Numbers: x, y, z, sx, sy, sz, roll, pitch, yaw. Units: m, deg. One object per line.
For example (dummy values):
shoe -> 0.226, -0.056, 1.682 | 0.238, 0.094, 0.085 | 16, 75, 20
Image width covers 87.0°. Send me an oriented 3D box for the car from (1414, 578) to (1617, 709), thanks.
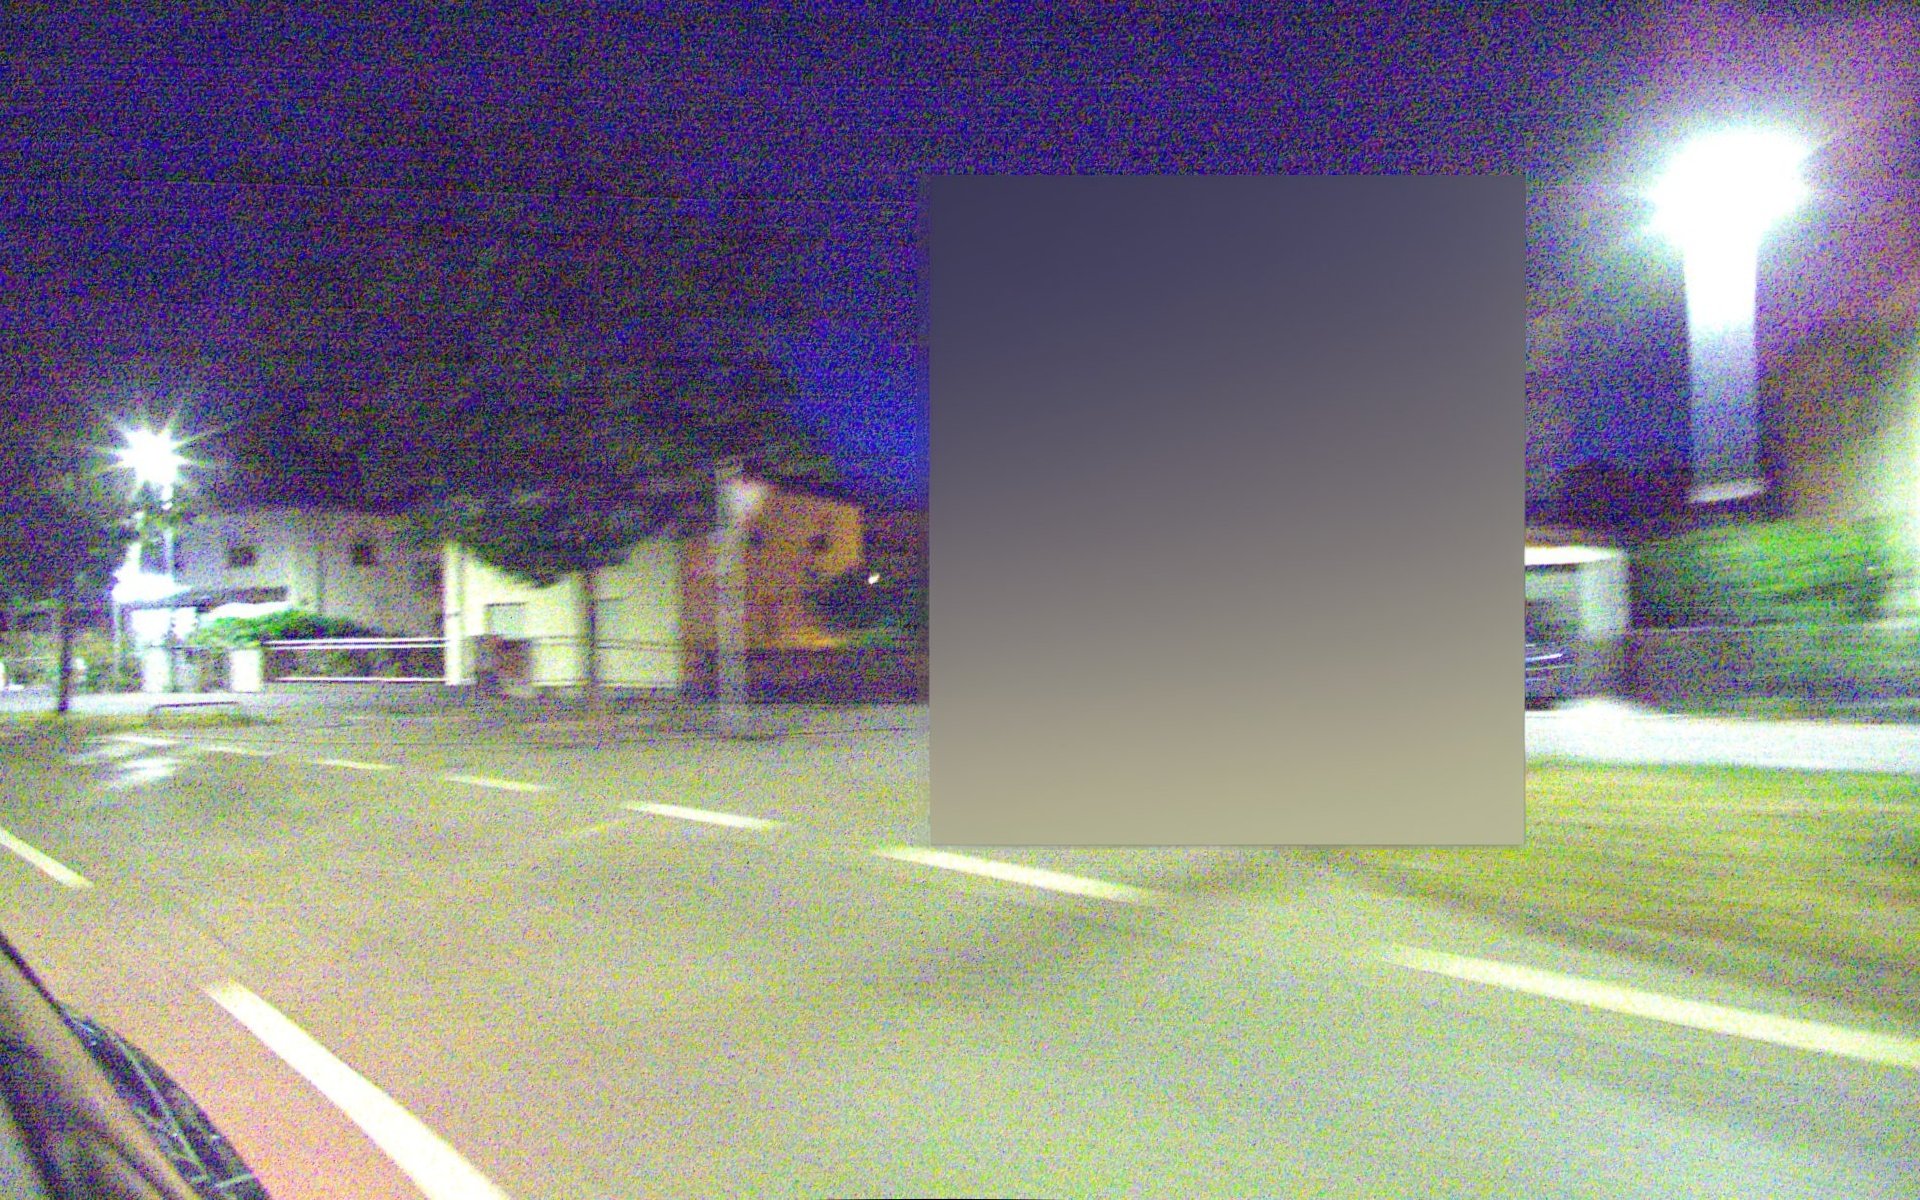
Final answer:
car -> 8.111, 0.584, 14.639 | 1.782, 1.639, 3.674 | -3, -2, 41
